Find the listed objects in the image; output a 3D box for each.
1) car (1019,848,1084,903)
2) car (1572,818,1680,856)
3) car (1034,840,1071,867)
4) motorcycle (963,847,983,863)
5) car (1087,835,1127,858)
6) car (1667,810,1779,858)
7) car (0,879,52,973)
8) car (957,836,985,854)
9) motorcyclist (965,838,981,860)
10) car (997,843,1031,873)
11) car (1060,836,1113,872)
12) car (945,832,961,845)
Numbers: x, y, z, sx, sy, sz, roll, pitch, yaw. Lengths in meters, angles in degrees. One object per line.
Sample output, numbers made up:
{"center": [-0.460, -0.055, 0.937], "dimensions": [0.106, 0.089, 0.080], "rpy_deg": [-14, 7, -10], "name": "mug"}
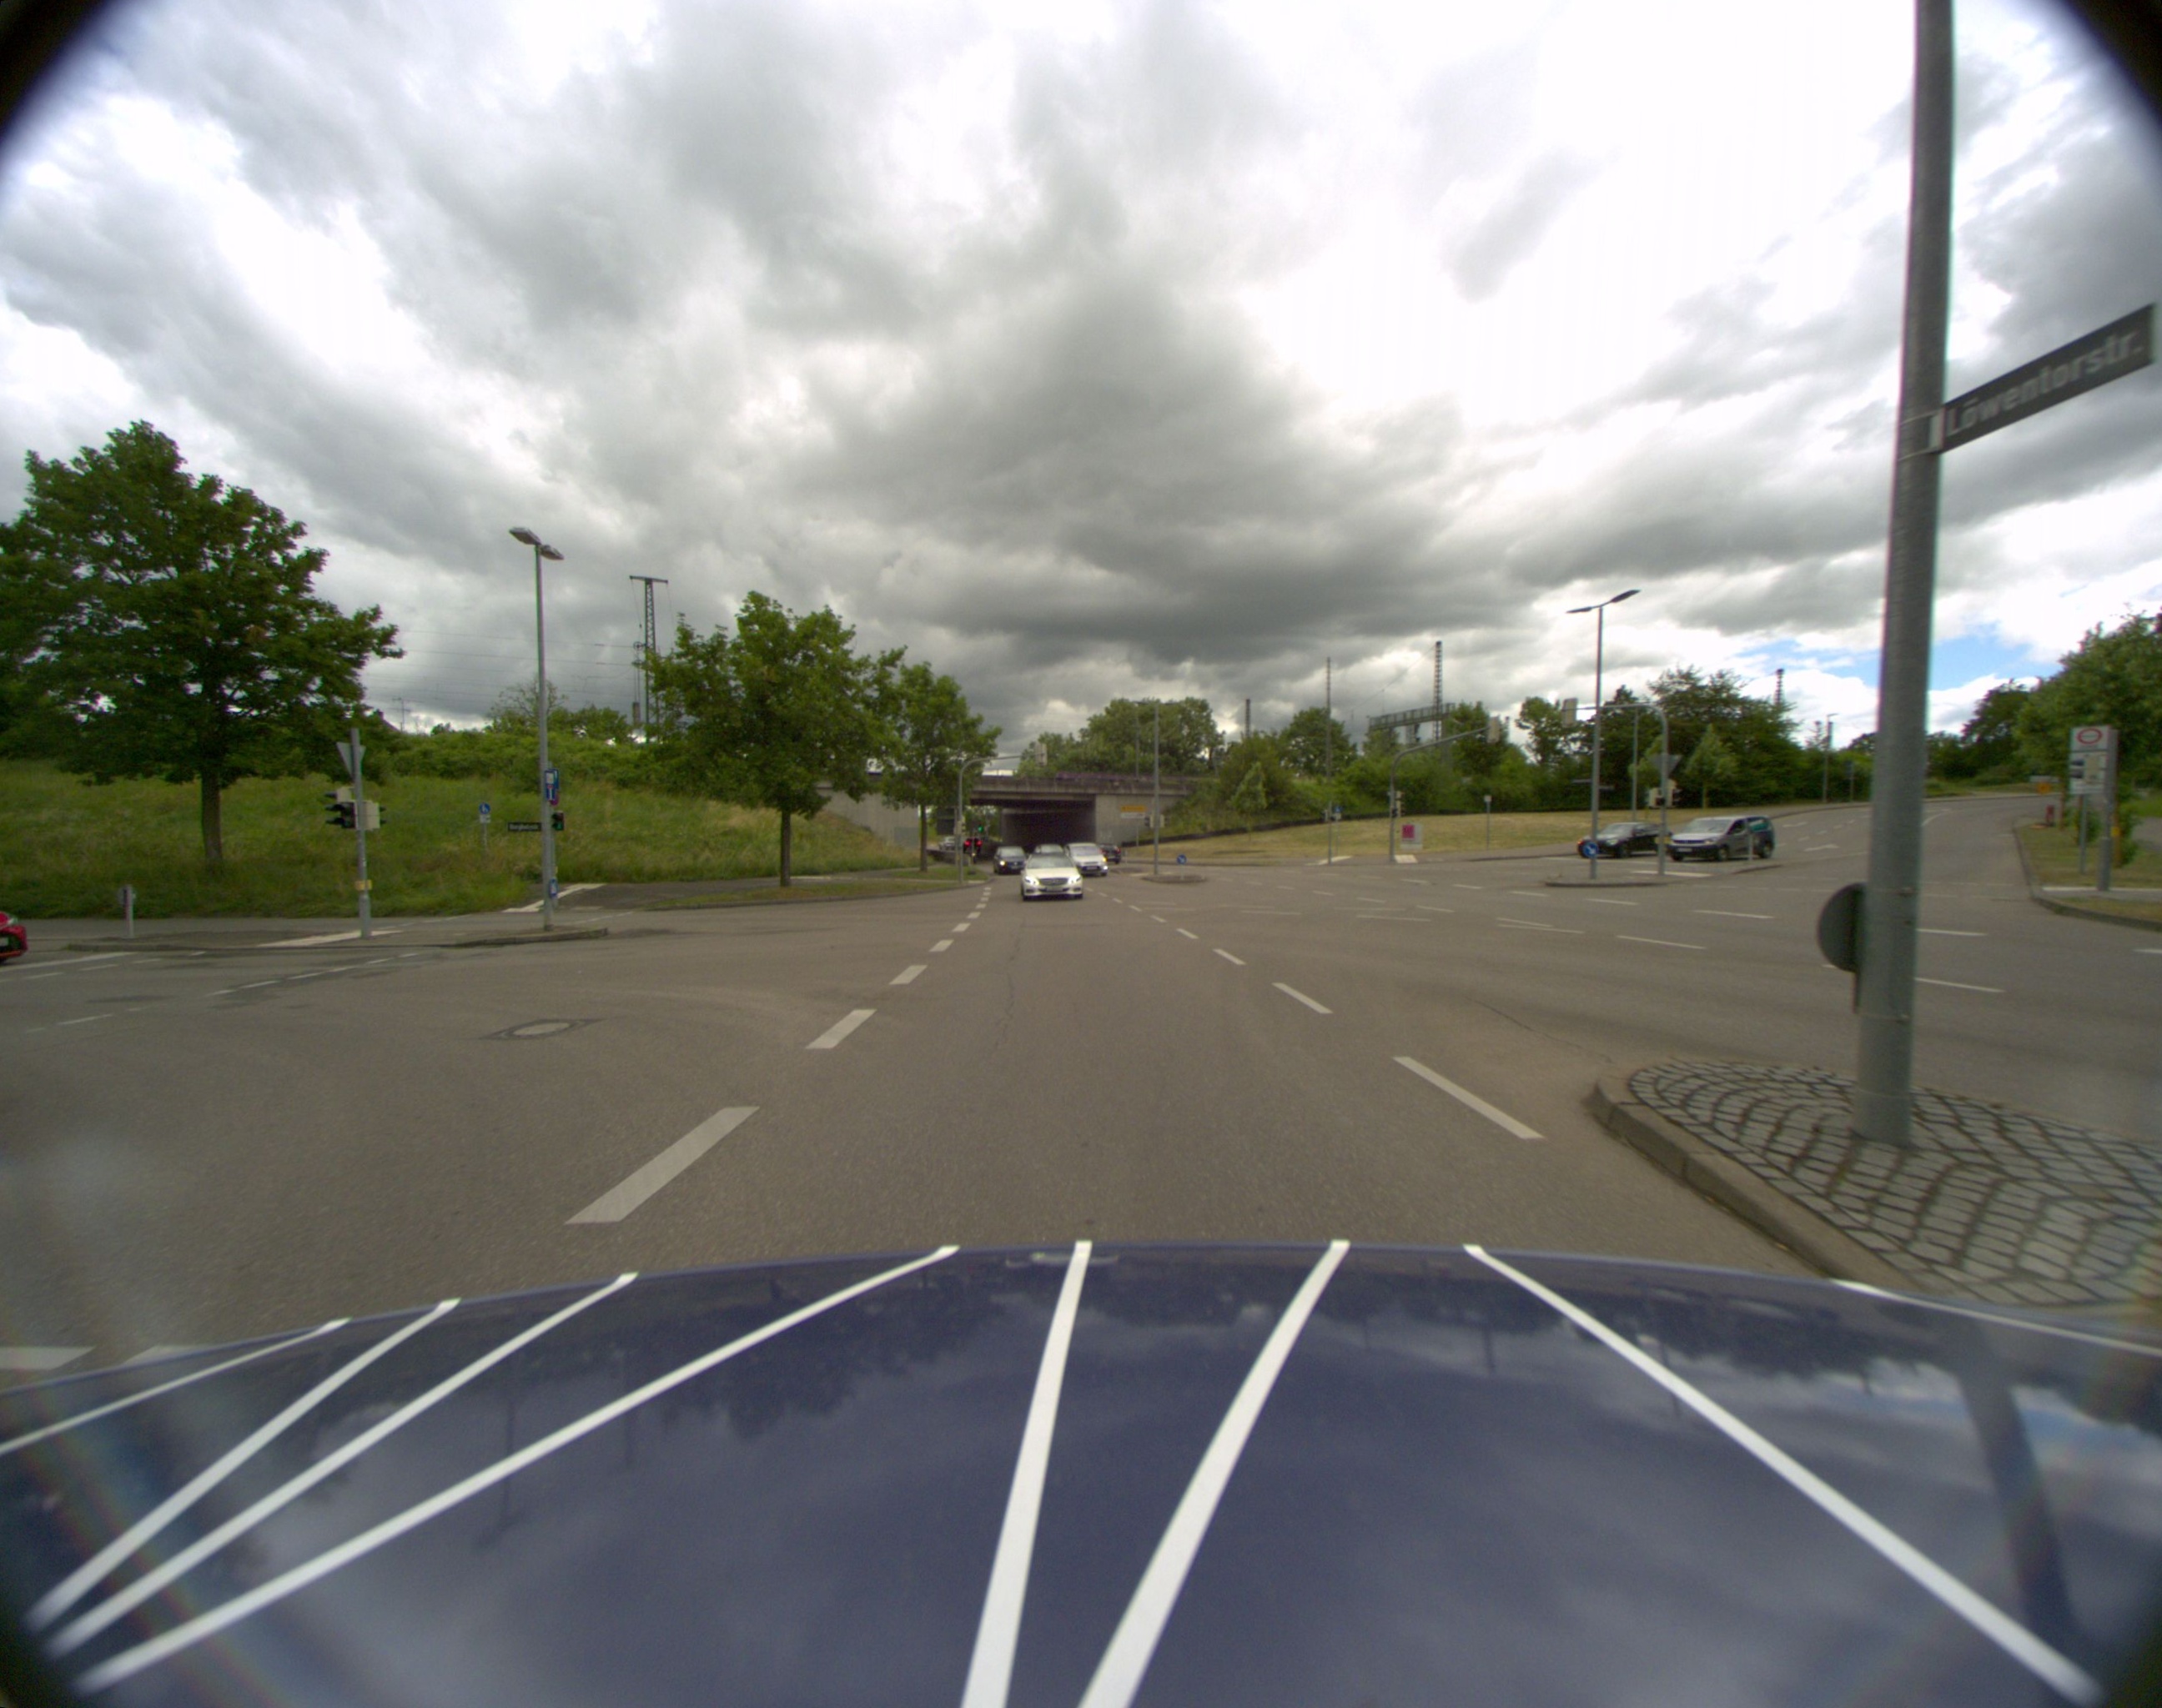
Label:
{"center": [-0.991, 0.634, 24.928], "dimensions": [1.905, 1.472, 4.092], "rpy_deg": [-2, 2, -3], "name": "car"}
{"center": [25.037, -0.810, 34.930], "dimensions": [4.267, 1.543, 2.106], "rpy_deg": [-3, 2, -22], "name": "car"}
{"center": [-1.861, -0.070, 48.372], "dimensions": [1.760, 1.525, 4.249], "rpy_deg": [-2, 2, -10], "name": "car"}
{"center": [-8.215, 0.059, 57.897], "dimensions": [0.884, 1.098, 2.355], "rpy_deg": [-3, 2, -23], "name": "motorcycle"}
{"center": [1.707, -0.496, 51.227], "dimensions": [1.760, 1.447, 4.063], "rpy_deg": [-2, 1, -11], "name": "car"}
{"center": [26.080, -0.833, 30.879], "dimensions": [4.267, 1.719, 1.756], "rpy_deg": [-3, 3, -23], "name": "car"}
{"center": [-19.531, 1.176, 11.990], "dimensions": [3.832, 1.488, 1.758], "rpy_deg": [1, 2, -6], "name": "car"}
{"center": [-11.634, -0.985, 80.412], "dimensions": [1.968, 1.781, 3.992], "rpy_deg": [-3, 2, -22], "name": "car"}
{"center": [-8.199, -0.378, 57.836], "dimensions": [0.884, 1.596, 1.241], "rpy_deg": [-3, 2, -23], "name": "motorcyclist"}
{"center": [-3.744, 0.188, 43.271], "dimensions": [1.759, 1.532, 3.997], "rpy_deg": [-2, 2, -3], "name": "car"}
{"center": [0.222, -0.065, 39.100], "dimensions": [1.831, 1.629, 4.506], "rpy_deg": [-2, 2, -11], "name": "car"}
{"center": [-14.984, -1.840, 89.355], "dimensions": [1.760, 1.506, 3.883], "rpy_deg": [-2, 2, -9], "name": "car"}
